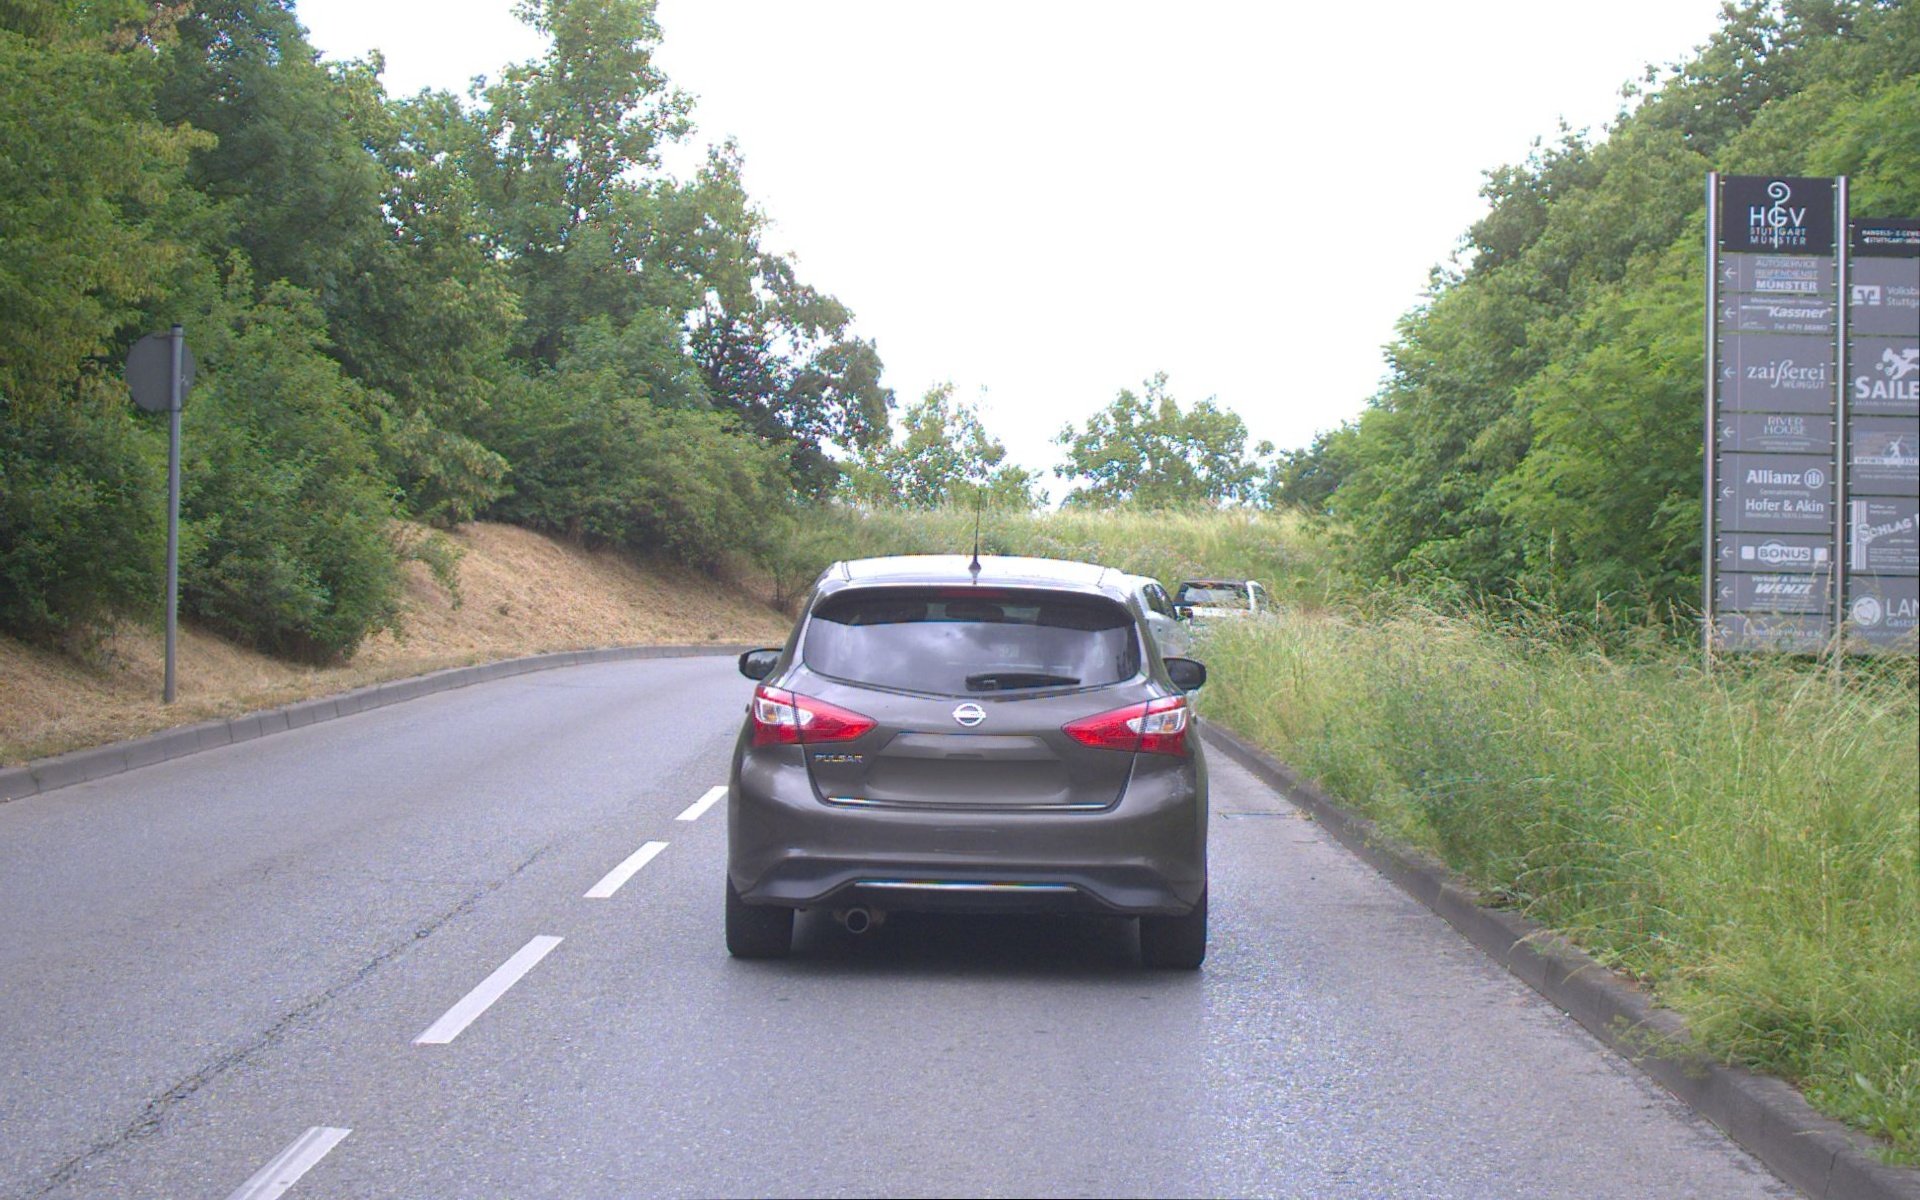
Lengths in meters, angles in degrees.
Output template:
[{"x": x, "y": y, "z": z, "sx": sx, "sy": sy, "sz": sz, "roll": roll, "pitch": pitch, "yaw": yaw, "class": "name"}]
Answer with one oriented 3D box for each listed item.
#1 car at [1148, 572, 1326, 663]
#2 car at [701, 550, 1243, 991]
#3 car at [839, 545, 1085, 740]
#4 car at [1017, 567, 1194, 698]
[{"x": 4.575, "y": 0.260, "z": 56.303, "sx": 1.800, "sy": 1.393, "sz": 3.995, "roll": 1, "pitch": 1, "yaw": 22, "class": "car"}, {"x": -0.033, "y": 0.564, "z": 13.891, "sx": 1.844, "sy": 1.488, "sz": 4.000, "roll": 1, "pitch": 1, "yaw": -2, "class": "car"}, {"x": -0.057, "y": 0.294, "z": 28.654, "sx": 1.844, "sy": 1.488, "sz": 4.228, "roll": 0, "pitch": 1, "yaw": -3, "class": "car"}, {"x": 1.813, "y": 0.357, "z": 41.799, "sx": 1.721, "sy": 1.489, "sz": 3.575, "roll": 0, "pitch": 1, "yaw": 9, "class": "car"}]
